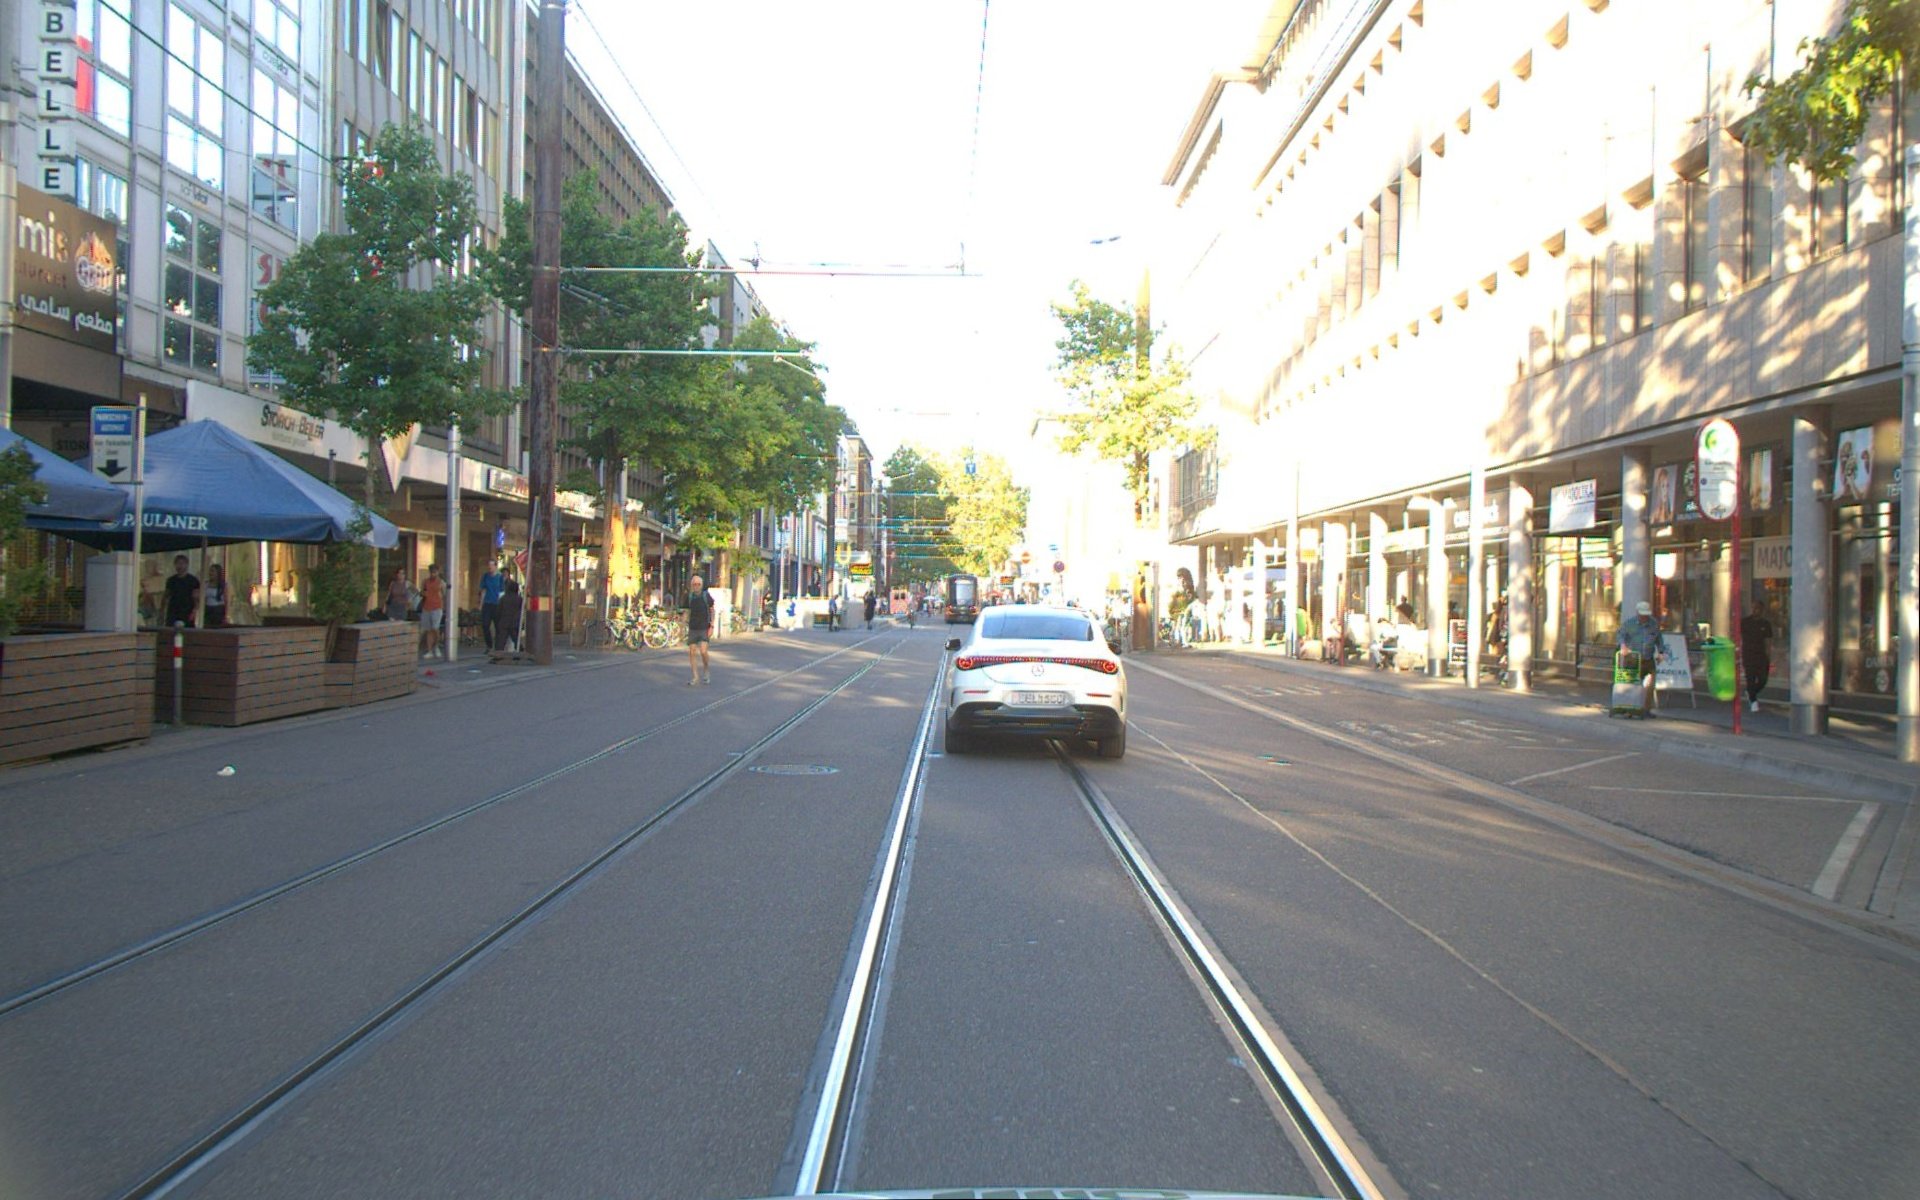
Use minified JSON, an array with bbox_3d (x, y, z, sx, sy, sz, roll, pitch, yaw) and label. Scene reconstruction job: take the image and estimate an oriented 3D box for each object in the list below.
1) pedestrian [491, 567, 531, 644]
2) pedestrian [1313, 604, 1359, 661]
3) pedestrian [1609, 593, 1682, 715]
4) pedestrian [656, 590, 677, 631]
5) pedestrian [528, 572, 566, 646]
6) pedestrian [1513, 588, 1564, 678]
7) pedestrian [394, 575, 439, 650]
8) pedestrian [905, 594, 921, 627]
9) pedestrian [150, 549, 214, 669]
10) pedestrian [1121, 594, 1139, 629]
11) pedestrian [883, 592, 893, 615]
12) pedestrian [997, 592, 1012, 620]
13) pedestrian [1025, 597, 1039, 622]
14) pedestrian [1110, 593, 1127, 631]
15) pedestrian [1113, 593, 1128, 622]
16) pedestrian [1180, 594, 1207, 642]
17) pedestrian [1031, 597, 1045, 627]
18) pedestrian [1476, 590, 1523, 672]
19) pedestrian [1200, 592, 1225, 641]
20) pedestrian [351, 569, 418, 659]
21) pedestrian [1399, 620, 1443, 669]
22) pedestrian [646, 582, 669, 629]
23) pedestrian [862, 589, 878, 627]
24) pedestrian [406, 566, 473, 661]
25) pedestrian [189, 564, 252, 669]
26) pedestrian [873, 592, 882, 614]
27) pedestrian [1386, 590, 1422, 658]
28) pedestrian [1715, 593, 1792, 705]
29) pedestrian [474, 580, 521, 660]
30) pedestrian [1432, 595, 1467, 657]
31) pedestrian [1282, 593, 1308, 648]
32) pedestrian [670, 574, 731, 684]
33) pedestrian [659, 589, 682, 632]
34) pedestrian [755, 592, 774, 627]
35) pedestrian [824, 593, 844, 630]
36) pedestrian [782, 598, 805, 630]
[{"bbox_3d":[-11.039,0.132,40.697,0.609,1.835,0.933,3,0,0],"label":"pedestrian"},{"bbox_3d":[9.496,0.826,41.818,0.822,1.401,0.772,1,0,-23],"label":"pedestrian"},{"bbox_3d":[9.278,0.715,22.392,0.667,1.600,0.632,2,0,0],"label":"pedestrian"},{"bbox_3d":[-13.043,0.455,73.586,0.799,1.792,0.779,1,0,-2],"label":"pedestrian"},{"bbox_3d":[-10.164,0.214,40.711,0.609,1.778,0.933,3,0,0],"label":"pedestrian"},{"bbox_3d":[11.885,0.671,33.980,0.729,1.824,0.858,1,0,0],"label":"pedestrian"},{"bbox_3d":[-11.572,0.261,35.247,0.609,1.552,0.809,3,0,0],"label":"pedestrian"},{"bbox_3d":[-2.567,0.571,90.427,0.784,1.813,0.849,2,0,-1],"label":"pedestrian"},{"bbox_3d":[-11.853,0.130,25.203,0.585,1.775,0.671,2,0,0],"label":"pedestrian"},{"bbox_3d":[8.960,0.585,87.091,0.823,1.817,0.803,-1,0,-1],"label":"pedestrian"},{"bbox_3d":[-5.309,0.250,121.926,0.646,1.627,0.573,1,0,-1],"label":"pedestrian"},{"bbox_3d":[2.953,0.397,110.904,0.941,1.817,0.803,-1,0,-1],"label":"pedestrian"},{"bbox_3d":[5.156,0.681,118.291,0.941,1.817,0.803,-1,0,-1],"label":"pedestrian"},{"bbox_3d":[7.601,0.585,79.443,0.733,1.817,0.766,-1,0,-1],"label":"pedestrian"},{"bbox_3d":[9.596,0.433,98.803,0.801,1.715,0.803,-1,0,-1],"label":"pedestrian"},{"bbox_3d":[8.989,0.683,63.740,0.881,1.775,0.689,-3,0,-1],"label":"pedestrian"},{"bbox_3d":[4.536,0.682,96.198,0.731,1.728,0.840,1,0,-3],"label":"pedestrian"},{"bbox_3d":[11.729,0.663,35.969,0.729,1.730,0.858,1,0,0],"label":"pedestrian"},{"bbox_3d":[9.725,0.619,63.746,0.687,1.844,1.033,-3,0,-1],"label":"pedestrian"},{"bbox_3d":[-10.902,0.263,31.347,0.831,1.666,0.762,2,0,20],"label":"pedestrian"},{"bbox_3d":[10.290,0.982,36.944,0.818,1.049,0.696,1,0,5],"label":"pedestrian"},{"bbox_3d":[-11.718,0.220,64.058,0.775,1.797,0.533,1,0,-25],"label":"pedestrian"},{"bbox_3d":[-4.622,0.407,84.899,0.531,1.963,0.569,0,0,44],"label":"pedestrian"},{"bbox_3d":[-10.003,0.265,31.814,0.832,1.771,0.835,2,0,20],"label":"pedestrian"},{"bbox_3d":[-11.276,0.249,25.221,0.585,1.559,0.671,2,0,0],"label":"pedestrian"},{"bbox_3d":[-6.057,0.235,121.836,0.646,1.627,0.573,1,0,-1],"label":"pedestrian"},{"bbox_3d":[11.770,0.641,43.875,0.701,1.771,0.835,1,0,0],"label":"pedestrian"},{"bbox_3d":[11.682,0.708,24.363,0.681,1.617,0.925,1,0,0],"label":"pedestrian"},{"bbox_3d":[-9.152,0.395,32.776,0.609,1.535,0.833,3,0,0],"label":"pedestrian"},{"bbox_3d":[12.487,0.661,42.218,0.629,1.568,0.796,1,0,0],"label":"pedestrian"},{"bbox_3d":[10.424,0.628,51.479,0.624,1.682,0.781,1,0,1],"label":"pedestrian"},{"bbox_3d":[-4.433,0.488,28.282,0.824,1.832,0.790,2,0,1],"label":"pedestrian"},{"bbox_3d":[-12.323,0.438,70.394,0.717,1.792,0.808,1,0,-35],"label":"pedestrian"},{"bbox_3d":[-9.765,0.460,82.663,0.821,1.747,0.785,1,0,-2],"label":"pedestrian"},{"bbox_3d":[-6.036,0.559,79.170,0.886,1.728,0.849,1,0,0],"label":"pedestrian"},{"bbox_3d":[-7.969,0.678,79.188,0.936,1.522,0.944,1,0,0],"label":"pedestrian"}]
